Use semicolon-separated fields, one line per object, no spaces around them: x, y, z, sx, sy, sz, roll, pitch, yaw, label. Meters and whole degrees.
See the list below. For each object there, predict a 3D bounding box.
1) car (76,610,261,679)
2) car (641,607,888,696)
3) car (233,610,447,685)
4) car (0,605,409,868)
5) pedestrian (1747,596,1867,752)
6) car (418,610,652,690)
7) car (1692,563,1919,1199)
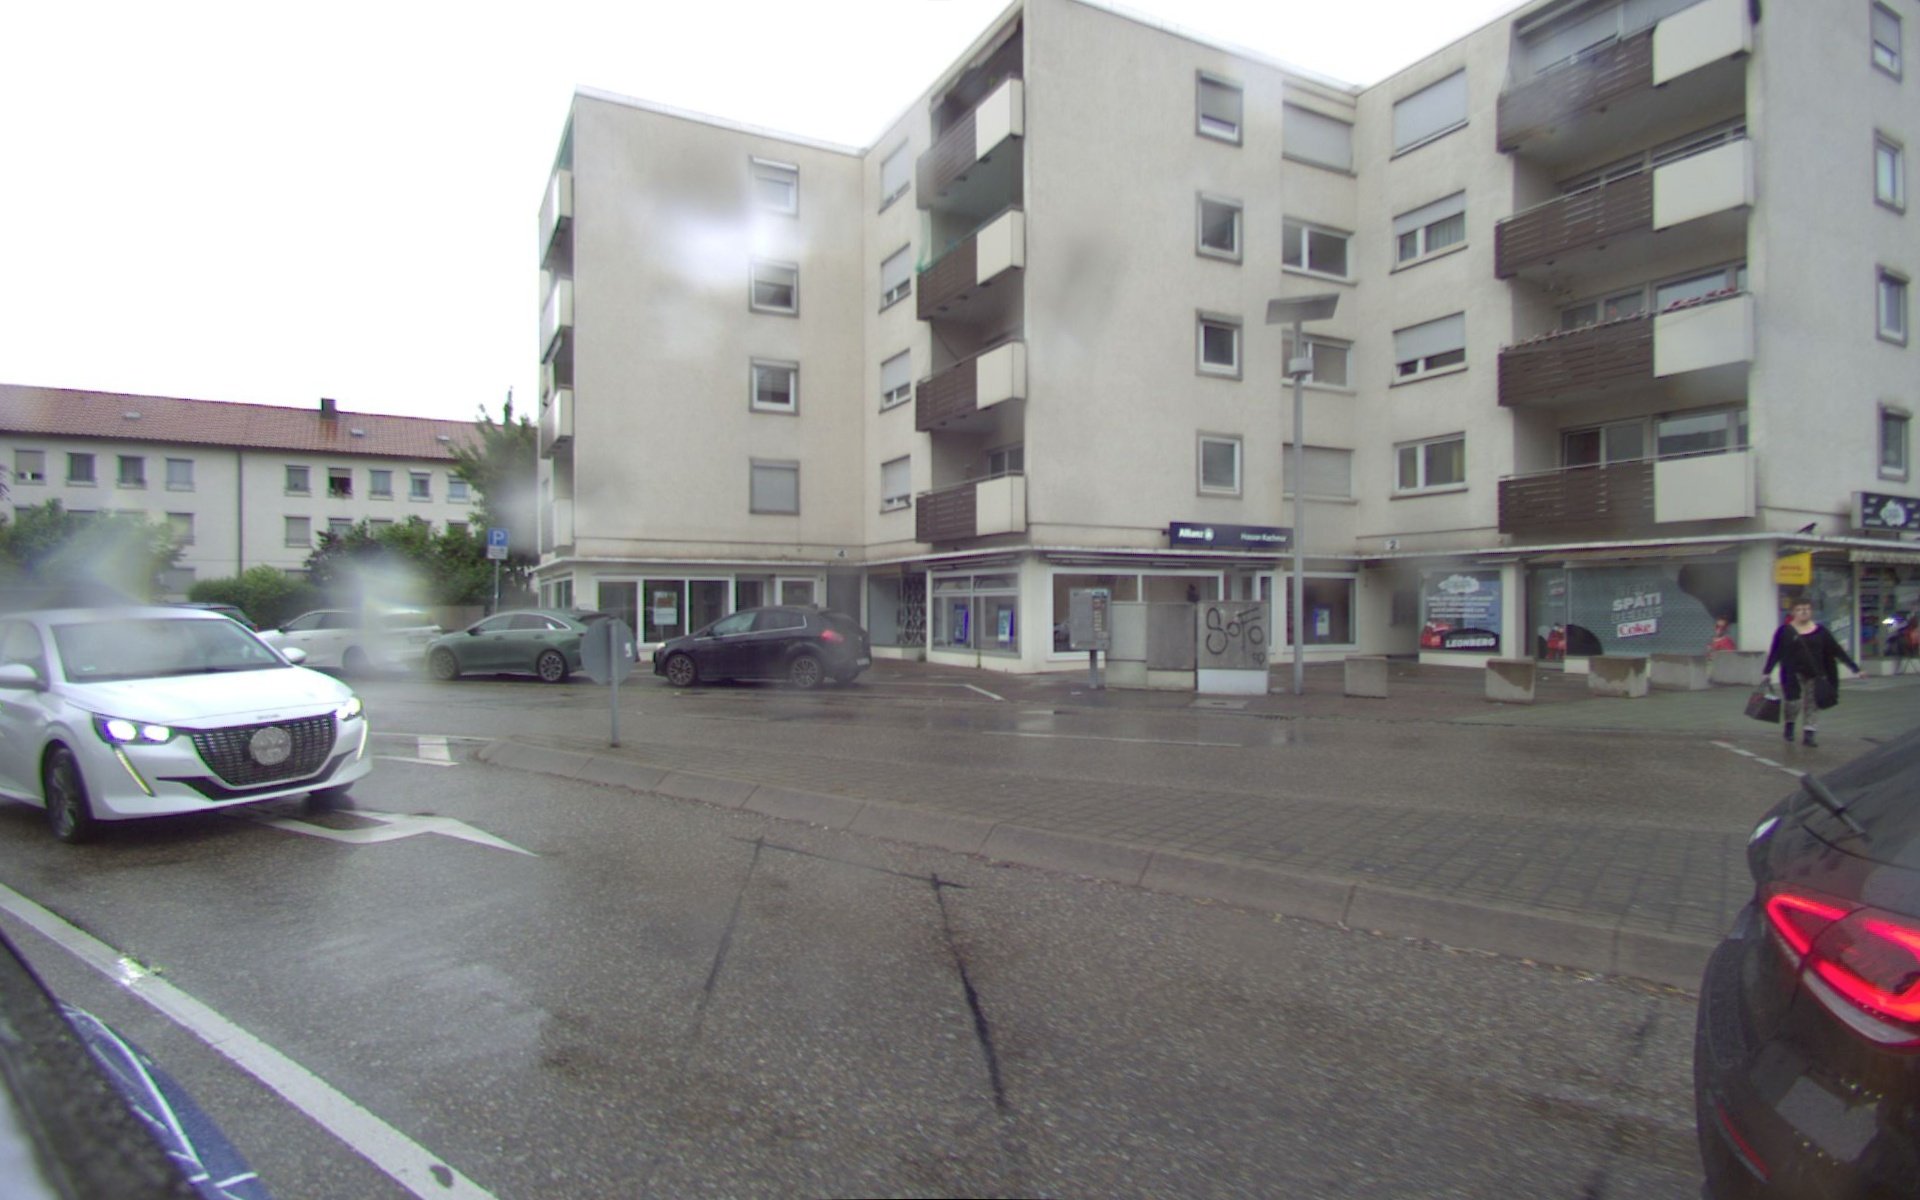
-18.802;1.013;24.058;3.849;1.517;1.624;0;0;19;car
-3.601;0.888;18.787;4.154;1.471;1.827;0;1;18;car
-13.590;0.986;22.204;4.310;1.511;1.628;0;0;18;car
-6.003;0.792;7.401;3.881;1.420;1.726;-1;1;31;car
9.114;0.762;10.903;0.647;1.597;0.915;1;-1;-43;pedestrian
-8.602;0.955;20.539;4.238;1.445;1.827;0;1;18;car
3.132;0.640;0.781;4.088;1.492;1.647;-2;0;38;car
